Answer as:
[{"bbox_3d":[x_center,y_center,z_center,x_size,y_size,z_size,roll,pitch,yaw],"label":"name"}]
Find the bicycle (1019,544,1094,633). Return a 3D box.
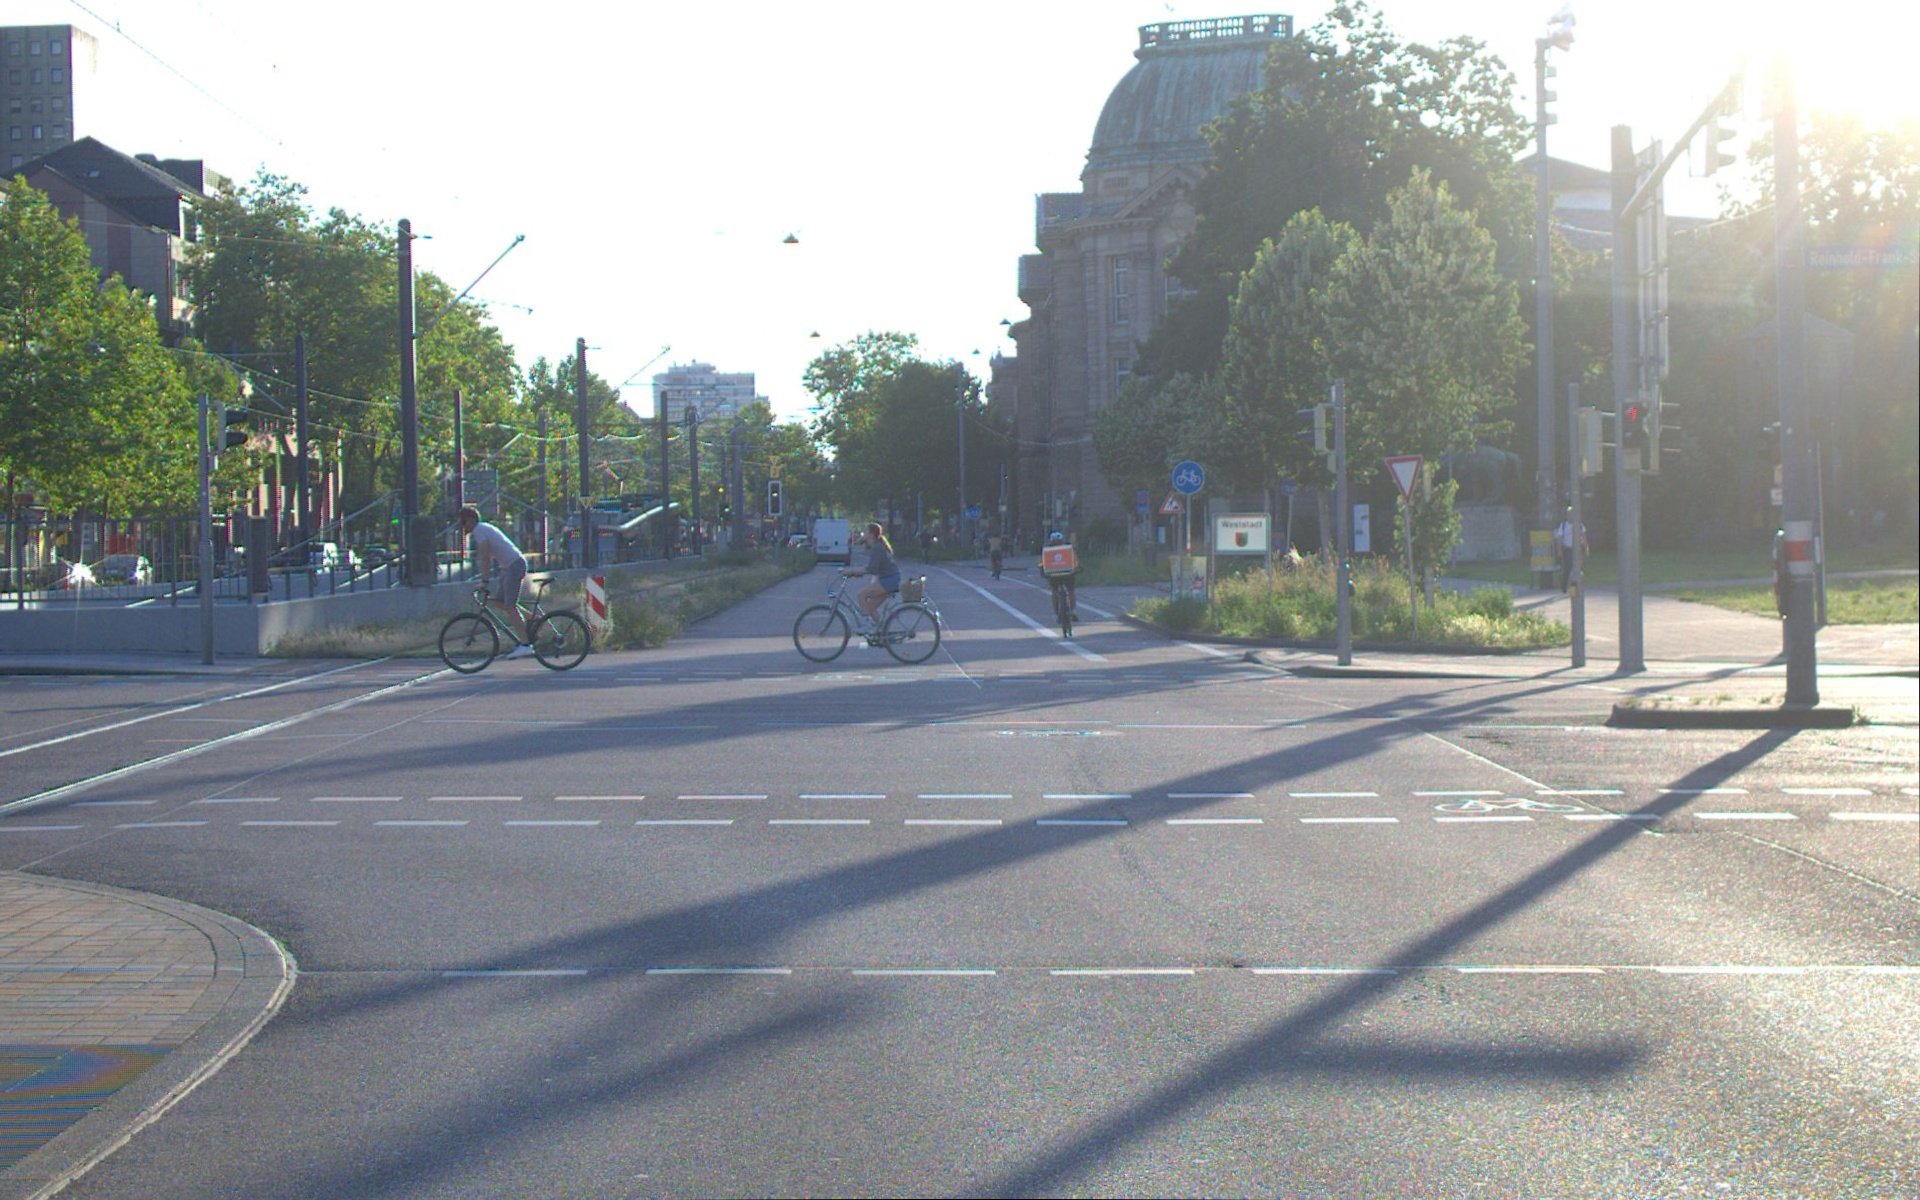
[{"bbox_3d":[1.565,-0.202,56.133,1.098,1.394,2.832,-1,1,-1],"label":"bicycle"}]

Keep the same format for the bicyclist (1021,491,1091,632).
[{"bbox_3d":[1.561,-0.636,56.079,1.082,2.268,0.986,0,1,-1],"label":"bicyclist"}]

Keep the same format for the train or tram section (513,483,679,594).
[{"bbox_3d":[-13.977,-2.463,133.273,4.387,3.836,11.410,-1,3,4],"label":"train or tram section"}]

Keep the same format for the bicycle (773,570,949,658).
[{"bbox_3d":[-1.229,0.168,42.804,2.164,1.080,0.539,0,0,2],"label":"bicycle"}]

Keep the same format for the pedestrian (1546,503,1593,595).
[{"bbox_3d":[12.027,-1.010,67.839,0.833,1.797,0.810,-1,1,15],"label":"pedestrian"}]

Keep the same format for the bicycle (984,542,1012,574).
[{"bbox_3d":[1.351,-1.497,122.829,0.924,1.108,2.333,-1,1,-1],"label":"bicycle"}]

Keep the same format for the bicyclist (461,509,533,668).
[{"bbox_3d":[-5.346,-0.142,39.722,0.792,1.812,0.646,-1,1,-7],"label":"bicyclist"}]

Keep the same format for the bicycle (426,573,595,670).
[{"bbox_3d":[-5.186,0.246,39.755,1.900,1.071,0.632,-1,1,-6],"label":"bicycle"}]

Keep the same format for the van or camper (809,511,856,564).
[{"bbox_3d":[-6.932,-3.394,186.683,2.449,2.761,5.601,-1,1,-2],"label":"van or camper"}]

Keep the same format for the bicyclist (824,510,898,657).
[{"bbox_3d":[-1.227,-0.205,42.804,0.876,1.812,0.538,-1,1,2],"label":"bicyclist"}]

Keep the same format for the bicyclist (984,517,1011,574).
[{"bbox_3d":[1.344,-1.949,122.829,0.925,2.007,0.850,-1,1,-1],"label":"bicyclist"}]
